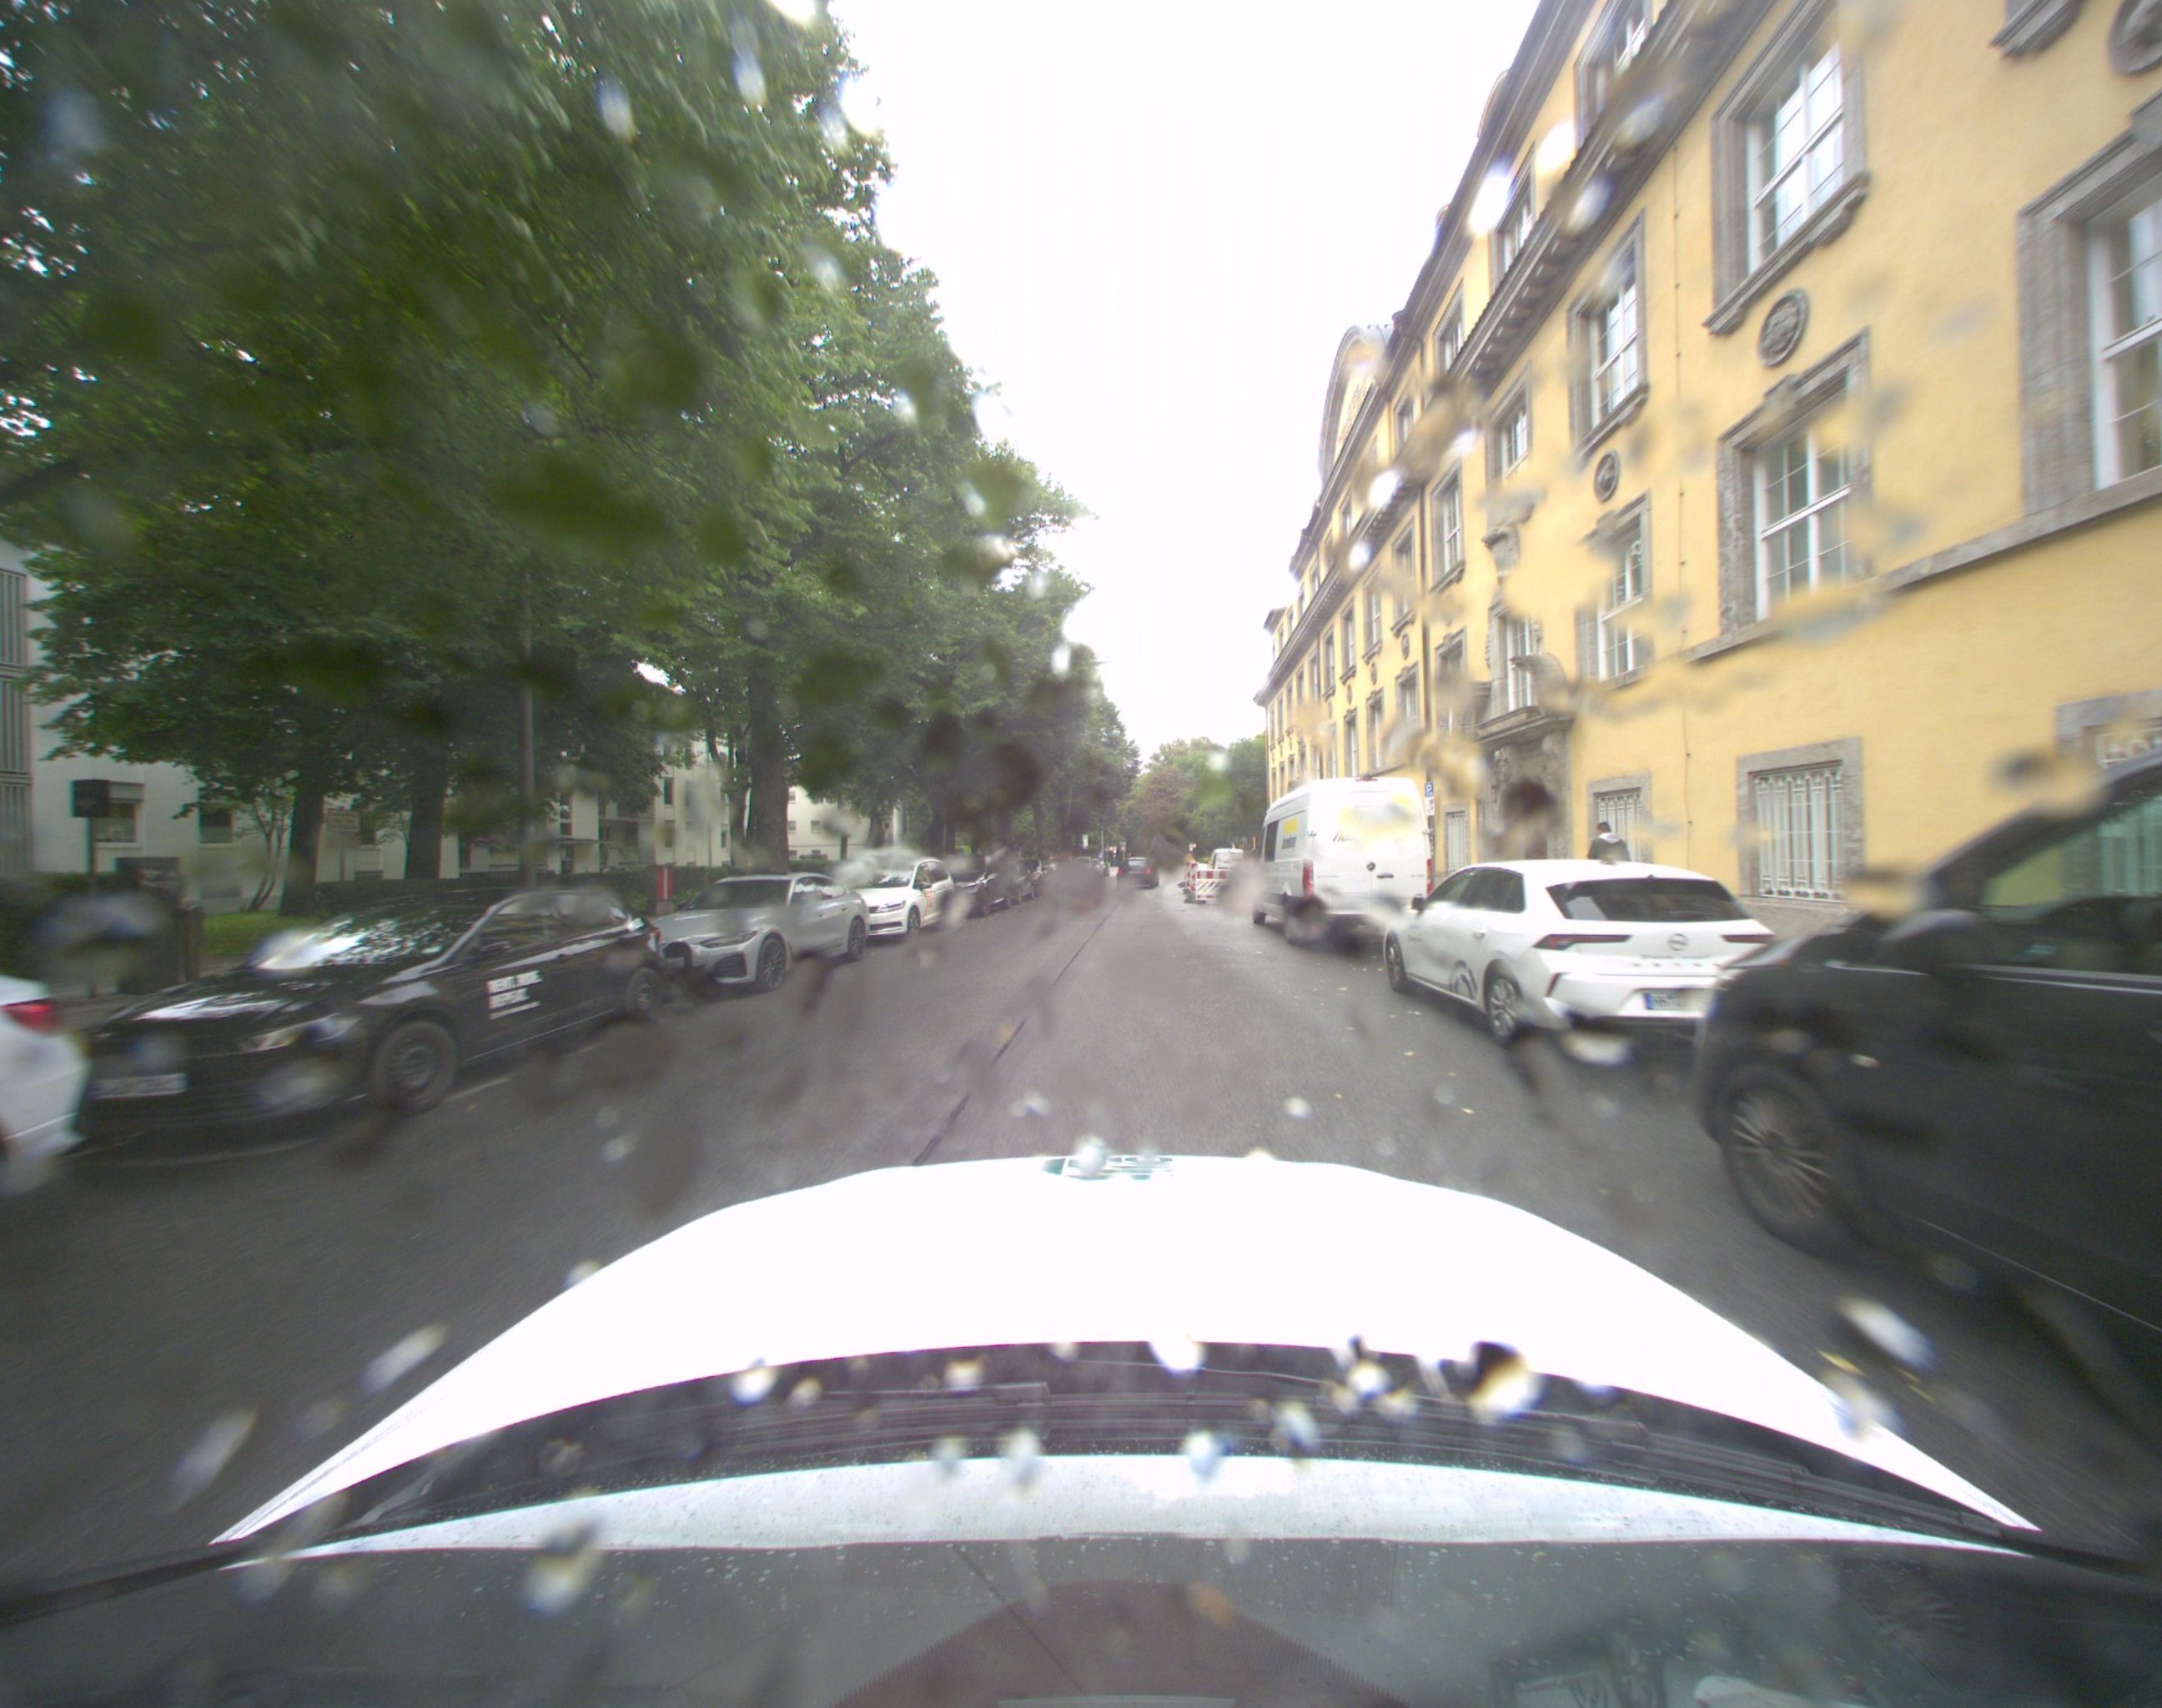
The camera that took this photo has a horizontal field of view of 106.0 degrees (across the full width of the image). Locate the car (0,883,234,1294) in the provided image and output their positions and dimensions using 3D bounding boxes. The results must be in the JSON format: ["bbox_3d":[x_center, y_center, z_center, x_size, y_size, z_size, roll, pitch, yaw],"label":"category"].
[{"bbox_3d":[-5.265,0.948,1.808,1.776,1.597,4.589,-2,-1,4],"label":"car"}]

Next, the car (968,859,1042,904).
[{"bbox_3d":[-2.660,0.940,29.715,1.710,1.451,4.704,-2,0,7],"label":"car"}]

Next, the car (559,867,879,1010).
[{"bbox_3d":[-4.556,0.965,11.314,1.801,1.469,5.004,-2,-1,5],"label":"car"}]

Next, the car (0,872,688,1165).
[{"bbox_3d":[-5.031,0.927,6.384,1.665,1.469,4.108,-2,-1,4],"label":"car"}]

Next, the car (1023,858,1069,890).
[{"bbox_3d":[-1.681,0.958,40.426,1.719,1.423,4.257,-2,0,5],"label":"car"}]

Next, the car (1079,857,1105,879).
[{"bbox_3d":[0.884,1.024,61.174,1.569,1.497,4.206,-2,-1,6],"label":"car"}]

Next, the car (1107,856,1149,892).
[{"bbox_3d":[2.293,0.916,38.776,1.568,1.584,4.054,-2,-1,9],"label":"car"}]

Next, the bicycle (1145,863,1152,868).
[{"bbox_3d":[10.380,1.803,125.255,0.678,0.830,2.107,-1,-1,-3],"label":"bicycle"}]

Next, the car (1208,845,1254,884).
[{"bbox_3d":[7.267,0.543,39.886,1.731,1.750,4.361,-2,-1,4],"label":"car"}]

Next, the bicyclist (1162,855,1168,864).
[{"bbox_3d":[11.518,0.756,111.821,0.679,1.187,0.480,-2,0,-5],"label":"bicyclist"}]

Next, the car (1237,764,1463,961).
[{"bbox_3d":[4.445,0.147,15.069,2.045,2.673,7.621,-2,-1,4],"label":"car"}]

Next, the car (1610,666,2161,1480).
[{"bbox_3d":[3.370,0.480,1.422,1.862,1.869,4.991,-2,-1,4],"label":"car"}]

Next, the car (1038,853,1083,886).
[{"bbox_3d":[-1.112,0.832,46.360,1.863,1.728,4.650,-2,-1,7],"label":"car"}]

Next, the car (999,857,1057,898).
[{"bbox_3d":[-2.216,0.955,35.099,1.778,1.574,4.492,-2,0,5],"label":"car"}]

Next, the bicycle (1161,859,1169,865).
[{"bbox_3d":[11.507,1.085,111.787,0.678,0.830,2.107,-1,-1,-3],"label":"bicycle"}]

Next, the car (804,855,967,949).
[{"bbox_3d":[-3.914,0.896,17.210,1.756,1.622,4.531,-4,-1,7],"label":"car"}]

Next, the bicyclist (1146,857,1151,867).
[{"bbox_3d":[10.345,1.289,125.269,0.679,1.504,0.900,-2,0,-3],"label":"bicyclist"}]

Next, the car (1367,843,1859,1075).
[{"bbox_3d":[4.178,0.702,7.402,1.863,1.458,4.259,-2,-1,4],"label":"car"}]

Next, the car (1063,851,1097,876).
[{"bbox_3d":[-0.023,0.640,55.210,1.806,1.601,4.520,-2,-1,6],"label":"car"}]

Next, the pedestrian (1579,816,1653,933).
[{"bbox_3d":[8.624,0.331,13.153,0.697,1.804,0.583,-3,-2,4],"label":"pedestrian"}]

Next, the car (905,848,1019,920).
[{"bbox_3d":[-3.314,0.792,23.799,1.983,1.797,4.929,-3,-1,6],"label":"car"}]
